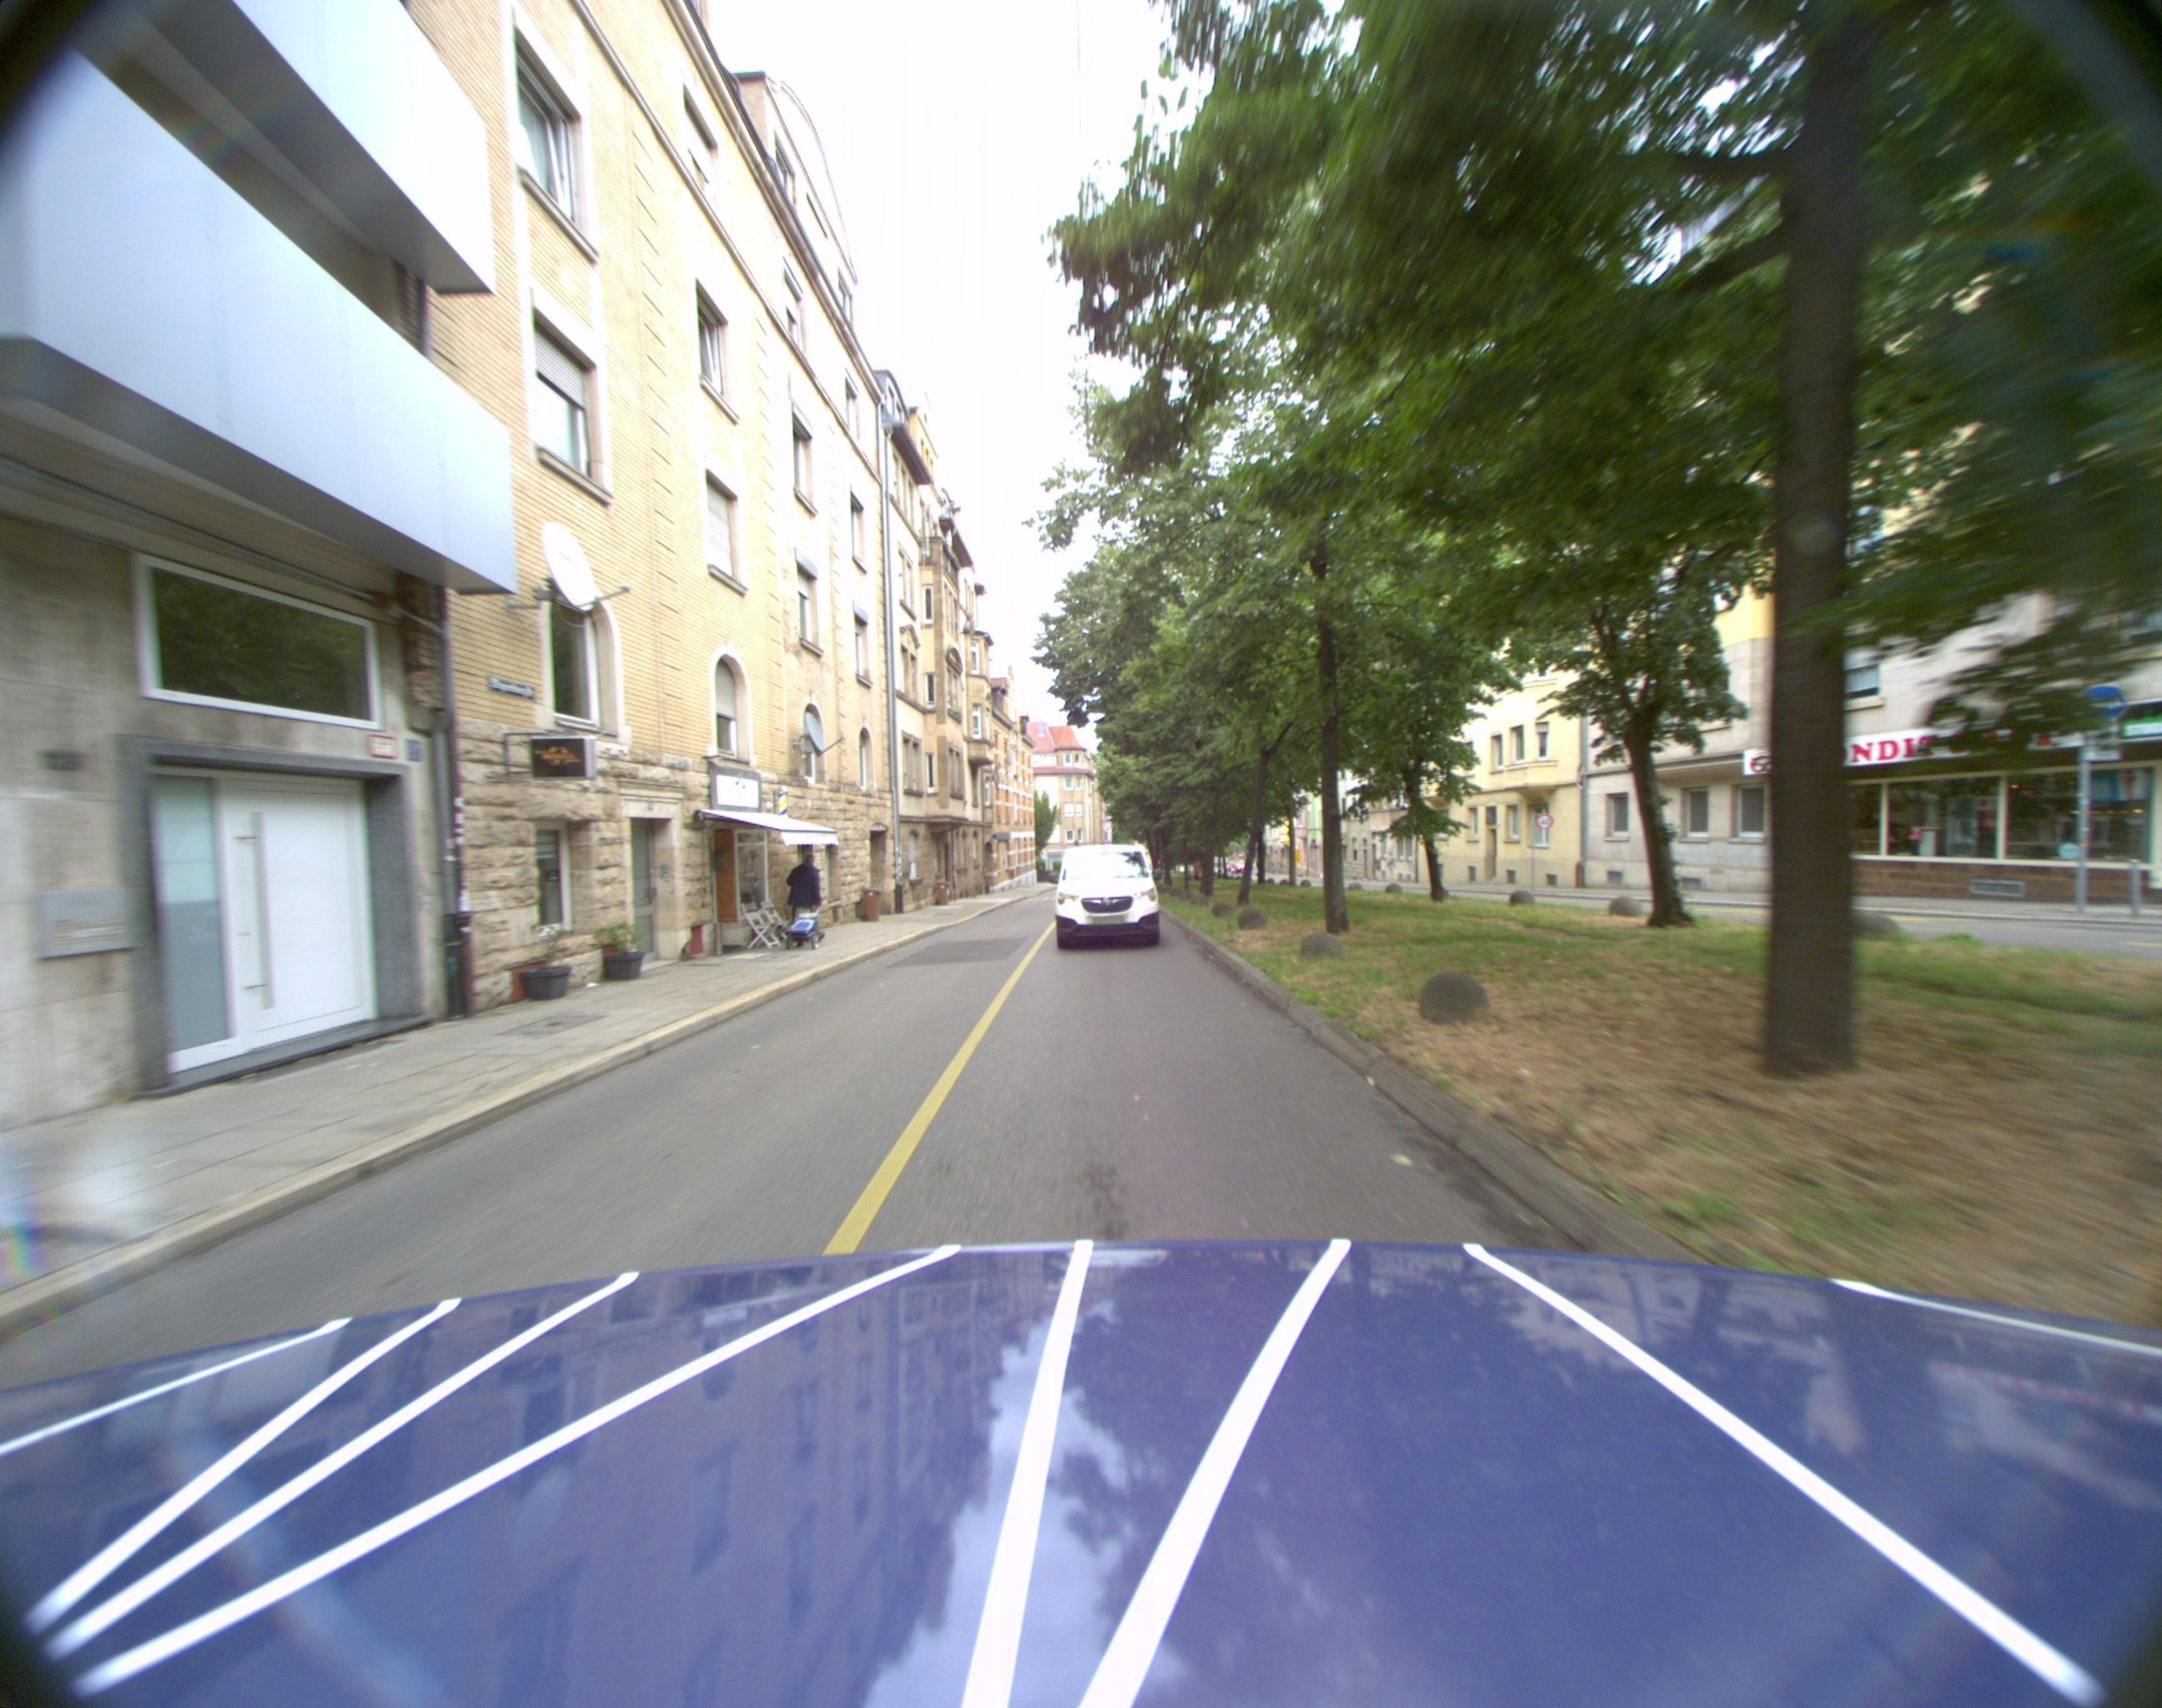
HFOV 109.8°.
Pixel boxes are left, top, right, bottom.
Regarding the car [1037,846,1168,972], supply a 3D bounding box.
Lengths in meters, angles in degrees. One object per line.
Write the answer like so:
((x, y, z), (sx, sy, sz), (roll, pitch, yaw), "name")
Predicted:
((0.510, 0.817, 13.518), (1.857, 1.798, 4.731), (-2, 0, 5), "car")

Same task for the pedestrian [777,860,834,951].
((-5.250, 0.954, 14.515), (0.753, 1.683, 0.858), (0, 0, 2), "pedestrian")

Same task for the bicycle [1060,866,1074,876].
((-1.692, 2.085, 93.156), (0.642, 1.134, 2.069), (-5, 5, -36), "bicycle")

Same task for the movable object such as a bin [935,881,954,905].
((-5.316, 1.528, 29.626), (0.595, 0.898, 0.563), (-2, 0, 3), "movable object such as a bin")

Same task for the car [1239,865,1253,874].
((25.158, 2.400, 115.887), (1.761, 1.374, 4.673), (0, -1, 9), "car")

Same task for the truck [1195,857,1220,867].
((34.761, 2.083, 208.472), (6.465, 2.707, 2.767), (0, -1, -26), "truck")

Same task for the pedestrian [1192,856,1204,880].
((8.540, 1.021, 55.420), (0.835, 1.702, 1.123), (2, 2, 8), "pedestrian")

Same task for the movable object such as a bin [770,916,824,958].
((-5.086, 1.470, 13.642), (0.609, 0.664, 0.859), (0, 0, 2), "movable object such as a bin")

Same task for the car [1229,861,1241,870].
((28.835, 2.151, 142.269), (1.819, 1.627, 4.681), (0, 0, 6), "car")

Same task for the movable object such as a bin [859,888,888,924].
((-5.744, 1.440, 21.068), (0.595, 0.899, 0.502), (-2, 4, 3), "movable object such as a bin")

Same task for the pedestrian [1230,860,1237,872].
((18.411, 1.467, 91.875), (0.700, 1.451, 0.704), (-2, -1, 8), "pedestrian")

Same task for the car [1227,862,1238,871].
((26.673, 2.219, 133.750), (1.711, 1.374, 4.673), (0, -1, 9), "car")
